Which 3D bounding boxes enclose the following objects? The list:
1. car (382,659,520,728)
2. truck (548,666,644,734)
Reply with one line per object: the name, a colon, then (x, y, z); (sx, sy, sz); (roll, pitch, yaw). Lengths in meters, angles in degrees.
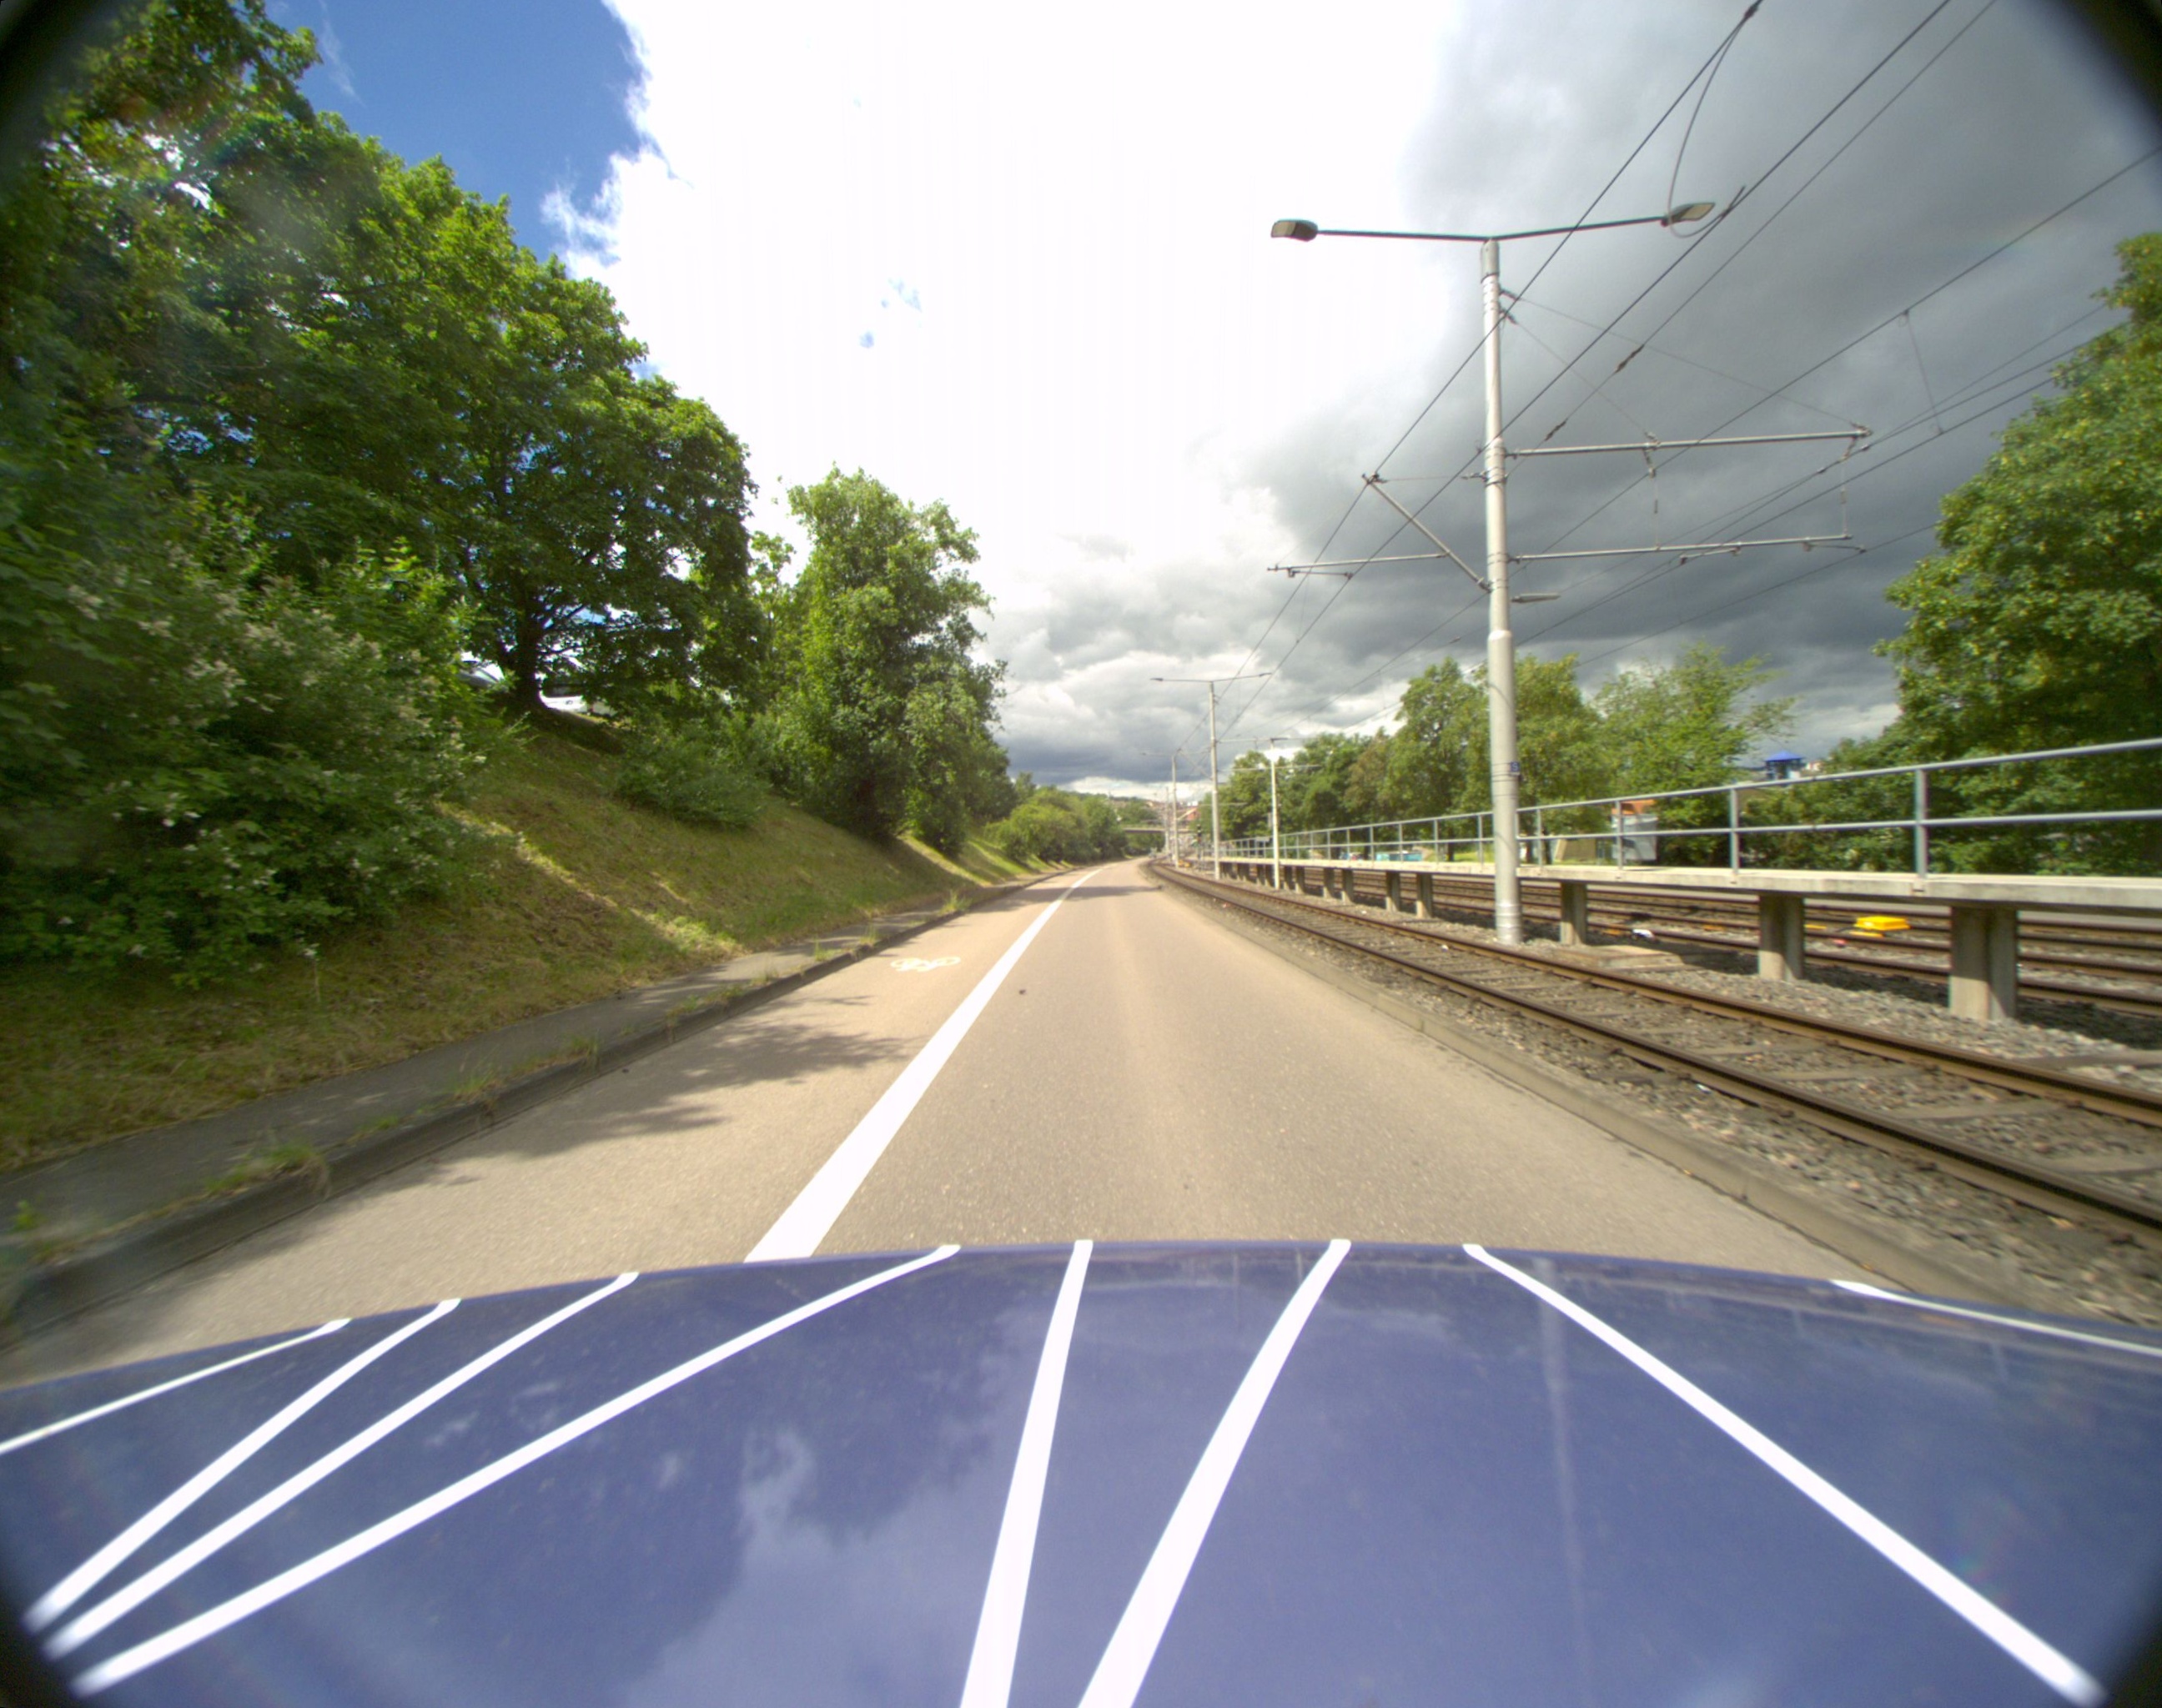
car: (-19.596, -4.959, 23.818); (1.453, 1.434, 3.333); (-2, 0, 1)
truck: (-19.637, -6.208, 30.988); (1.388, 1.930, 3.966); (-2, 0, -2)
